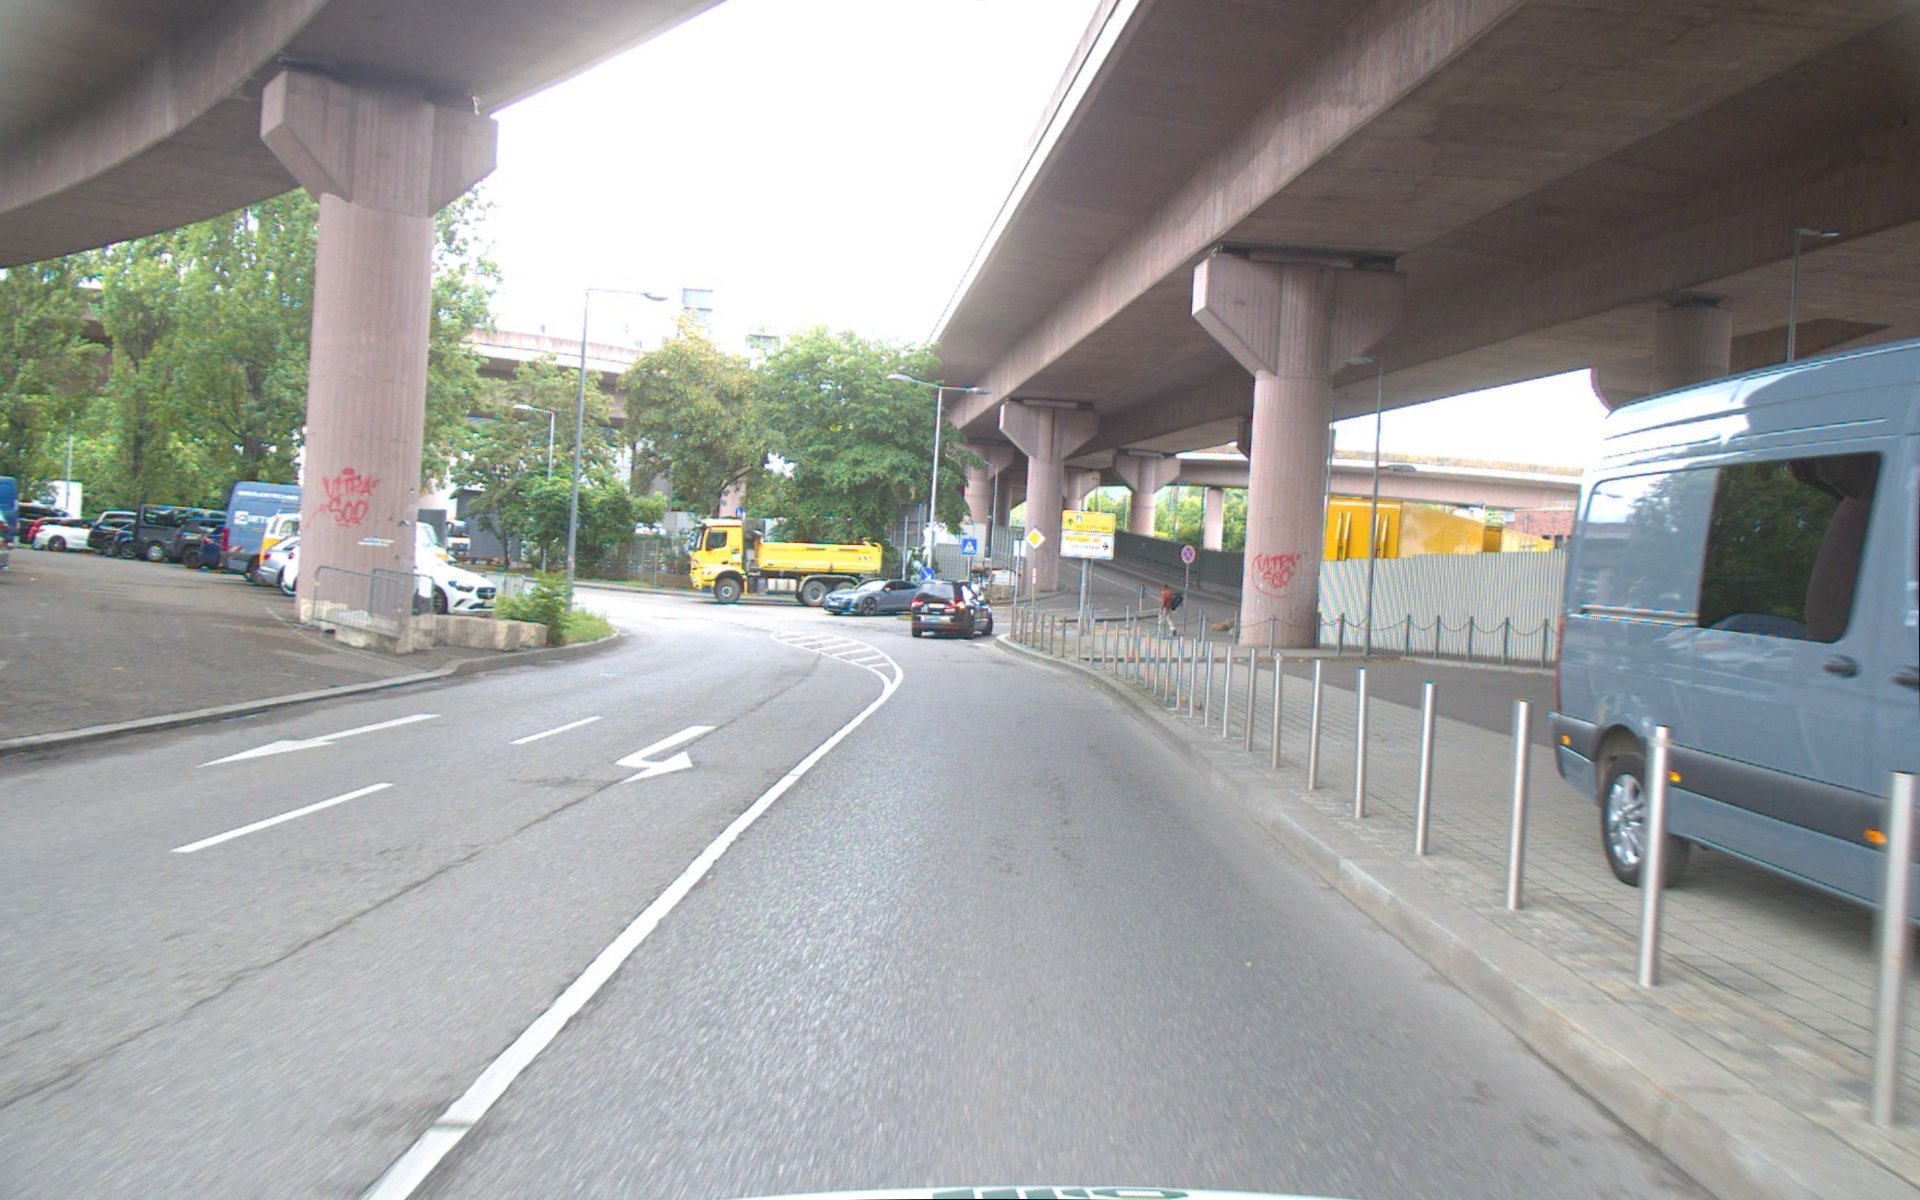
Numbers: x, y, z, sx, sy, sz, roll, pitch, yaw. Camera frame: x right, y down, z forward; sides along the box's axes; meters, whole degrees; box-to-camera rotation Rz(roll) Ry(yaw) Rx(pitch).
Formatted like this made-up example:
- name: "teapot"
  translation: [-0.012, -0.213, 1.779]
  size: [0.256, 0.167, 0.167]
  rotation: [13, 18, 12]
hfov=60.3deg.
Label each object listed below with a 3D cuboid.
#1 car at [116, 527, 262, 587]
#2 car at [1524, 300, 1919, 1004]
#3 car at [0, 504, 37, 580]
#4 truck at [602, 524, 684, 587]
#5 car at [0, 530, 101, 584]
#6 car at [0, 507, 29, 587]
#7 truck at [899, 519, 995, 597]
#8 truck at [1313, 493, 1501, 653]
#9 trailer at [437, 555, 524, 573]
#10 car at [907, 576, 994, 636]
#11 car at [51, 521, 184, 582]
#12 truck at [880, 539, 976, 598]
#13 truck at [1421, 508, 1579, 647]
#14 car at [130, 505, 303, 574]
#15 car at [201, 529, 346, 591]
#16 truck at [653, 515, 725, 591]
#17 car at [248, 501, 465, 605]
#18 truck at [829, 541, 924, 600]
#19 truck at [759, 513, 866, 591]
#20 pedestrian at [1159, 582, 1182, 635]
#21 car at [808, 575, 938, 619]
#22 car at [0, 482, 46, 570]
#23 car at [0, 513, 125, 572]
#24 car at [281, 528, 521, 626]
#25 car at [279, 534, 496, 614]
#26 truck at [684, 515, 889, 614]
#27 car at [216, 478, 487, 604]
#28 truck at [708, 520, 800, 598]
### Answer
- name: "car"
  translation: [-24.611, -1.363, 52.936]
  size: [3.924, 1.760, 1.991]
  rotation: [2, 0, -17]
- name: "car"
  translation: [4.582, 0.204, 7.160]
  size: [1.953, 2.658, 6.072]
  rotation: [2, 1, -2]
- name: "car"
  translation: [-22.957, -1.353, 36.652]
  size: [1.856, 1.705, 4.155]
  rotation: [2, 1, 20]
- name: "truck"
  translation: [-21.050, -2.997, 109.493]
  size: [3.021, 3.681, 7.845]
  rotation: [2, 3, -28]
- name: "car"
  translation: [-37.651, -1.751, 67.811]
  size: [3.924, 2.048, 1.991]
  rotation: [2, 0, -17]
- name: "car"
  translation: [-19.747, -1.087, 30.096]
  size: [1.819, 1.513, 4.891]
  rotation: [5, 2, 18]
- name: "truck"
  translation: [-0.863, -2.620, 100.676]
  size: [3.023, 4.373, 7.998]
  rotation: [2, 2, -22]
- name: "truck"
  translation: [15.405, -0.802, 56.501]
  size: [3.086, 5.003, 8.682]
  rotation: [3, 0, 36]
- name: "trailer"
  translation: [-27.923, -2.125, 96.207]
  size: [6.191, 0.756, 2.141]
  rotation: [5, 5, 45]
- name: "car"
  translation: [-0.233, 0.159, 50.365]
  size: [1.951, 1.708, 4.564]
  rotation: [2, 0, 8]
- name: "car"
  translation: [-30.596, -1.725, 60.185]
  size: [3.924, 2.049, 1.991]
  rotation: [2, 0, -17]
- name: "truck"
  translation: [-1.894, -1.818, 93.438]
  size: [2.880, 2.948, 6.505]
  rotation: [1, 3, -26]
- name: "truck"
  translation: [21.128, -0.763, 64.328]
  size: [3.086, 4.988, 8.682]
  rotation: [3, 0, 36]
- name: "car"
  translation: [-26.219, -2.106, 58.452]
  size: [4.987, 2.108, 2.258]
  rotation: [3, -1, -2]
- name: "car"
  translation: [-21.297, -1.230, 51.466]
  size: [3.924, 1.770, 2.012]
  rotation: [2, 0, -17]
- name: "truck"
  translation: [-18.667, -3.278, 113.366]
  size: [3.157, 4.862, 7.999]
  rotation: [2, 2, -21]
- name: "car"
  translation: [-14.707, -1.127, 40.456]
  size: [4.462, 2.147, 1.851]
  rotation: [4, 0, 2]
- name: "truck"
  translation: [-4.703, -1.685, 91.880]
  size: [2.880, 2.948, 6.505]
  rotation: [1, 3, -26]
- name: "truck"
  translation: [-8.120, -2.685, 90.120]
  size: [3.028, 3.934, 7.983]
  rotation: [1, 3, -26]
- name: "pedestrian"
  translation: [7.002, 0.282, 55.035]
  size: [0.528, 1.705, 0.555]
  rotation: [1, 1, -17]
- name: "car"
  translation: [-3.316, -0.108, 63.780]
  size: [2.136, 1.528, 4.901]
  rotation: [3, 1, 42]
- name: "car"
  translation: [-26.628, -2.009, 42.987]
  size: [2.072, 2.294, 5.021]
  rotation: [2, 0, 15]
- name: "car"
  translation: [-33.906, -2.152, 62.381]
  size: [3.924, 2.048, 1.991]
  rotation: [2, 0, -17]
- name: "car"
  translation: [-11.812, -0.483, 35.125]
  size: [4.289, 1.633, 1.956]
  rotation: [5, 1, 7]
- name: "car"
  translation: [-13.069, -0.599, 37.918]
  size: [4.156, 1.394, 2.001]
  rotation: [5, 1, 5]
- name: "truck"
  translation: [-7.306, -1.500, 69.421]
  size: [8.082, 3.540, 2.927]
  rotation: [3, 4, -15]
- name: "car"
  translation: [-15.802, -1.513, 43.276]
  size: [6.053, 2.772, 2.367]
  rotation: [4, 1, -3]
- name: "truck"
  translation: [-11.369, -2.244, 90.539]
  size: [3.026, 4.032, 6.871]
  rotation: [2, 1, -24]
